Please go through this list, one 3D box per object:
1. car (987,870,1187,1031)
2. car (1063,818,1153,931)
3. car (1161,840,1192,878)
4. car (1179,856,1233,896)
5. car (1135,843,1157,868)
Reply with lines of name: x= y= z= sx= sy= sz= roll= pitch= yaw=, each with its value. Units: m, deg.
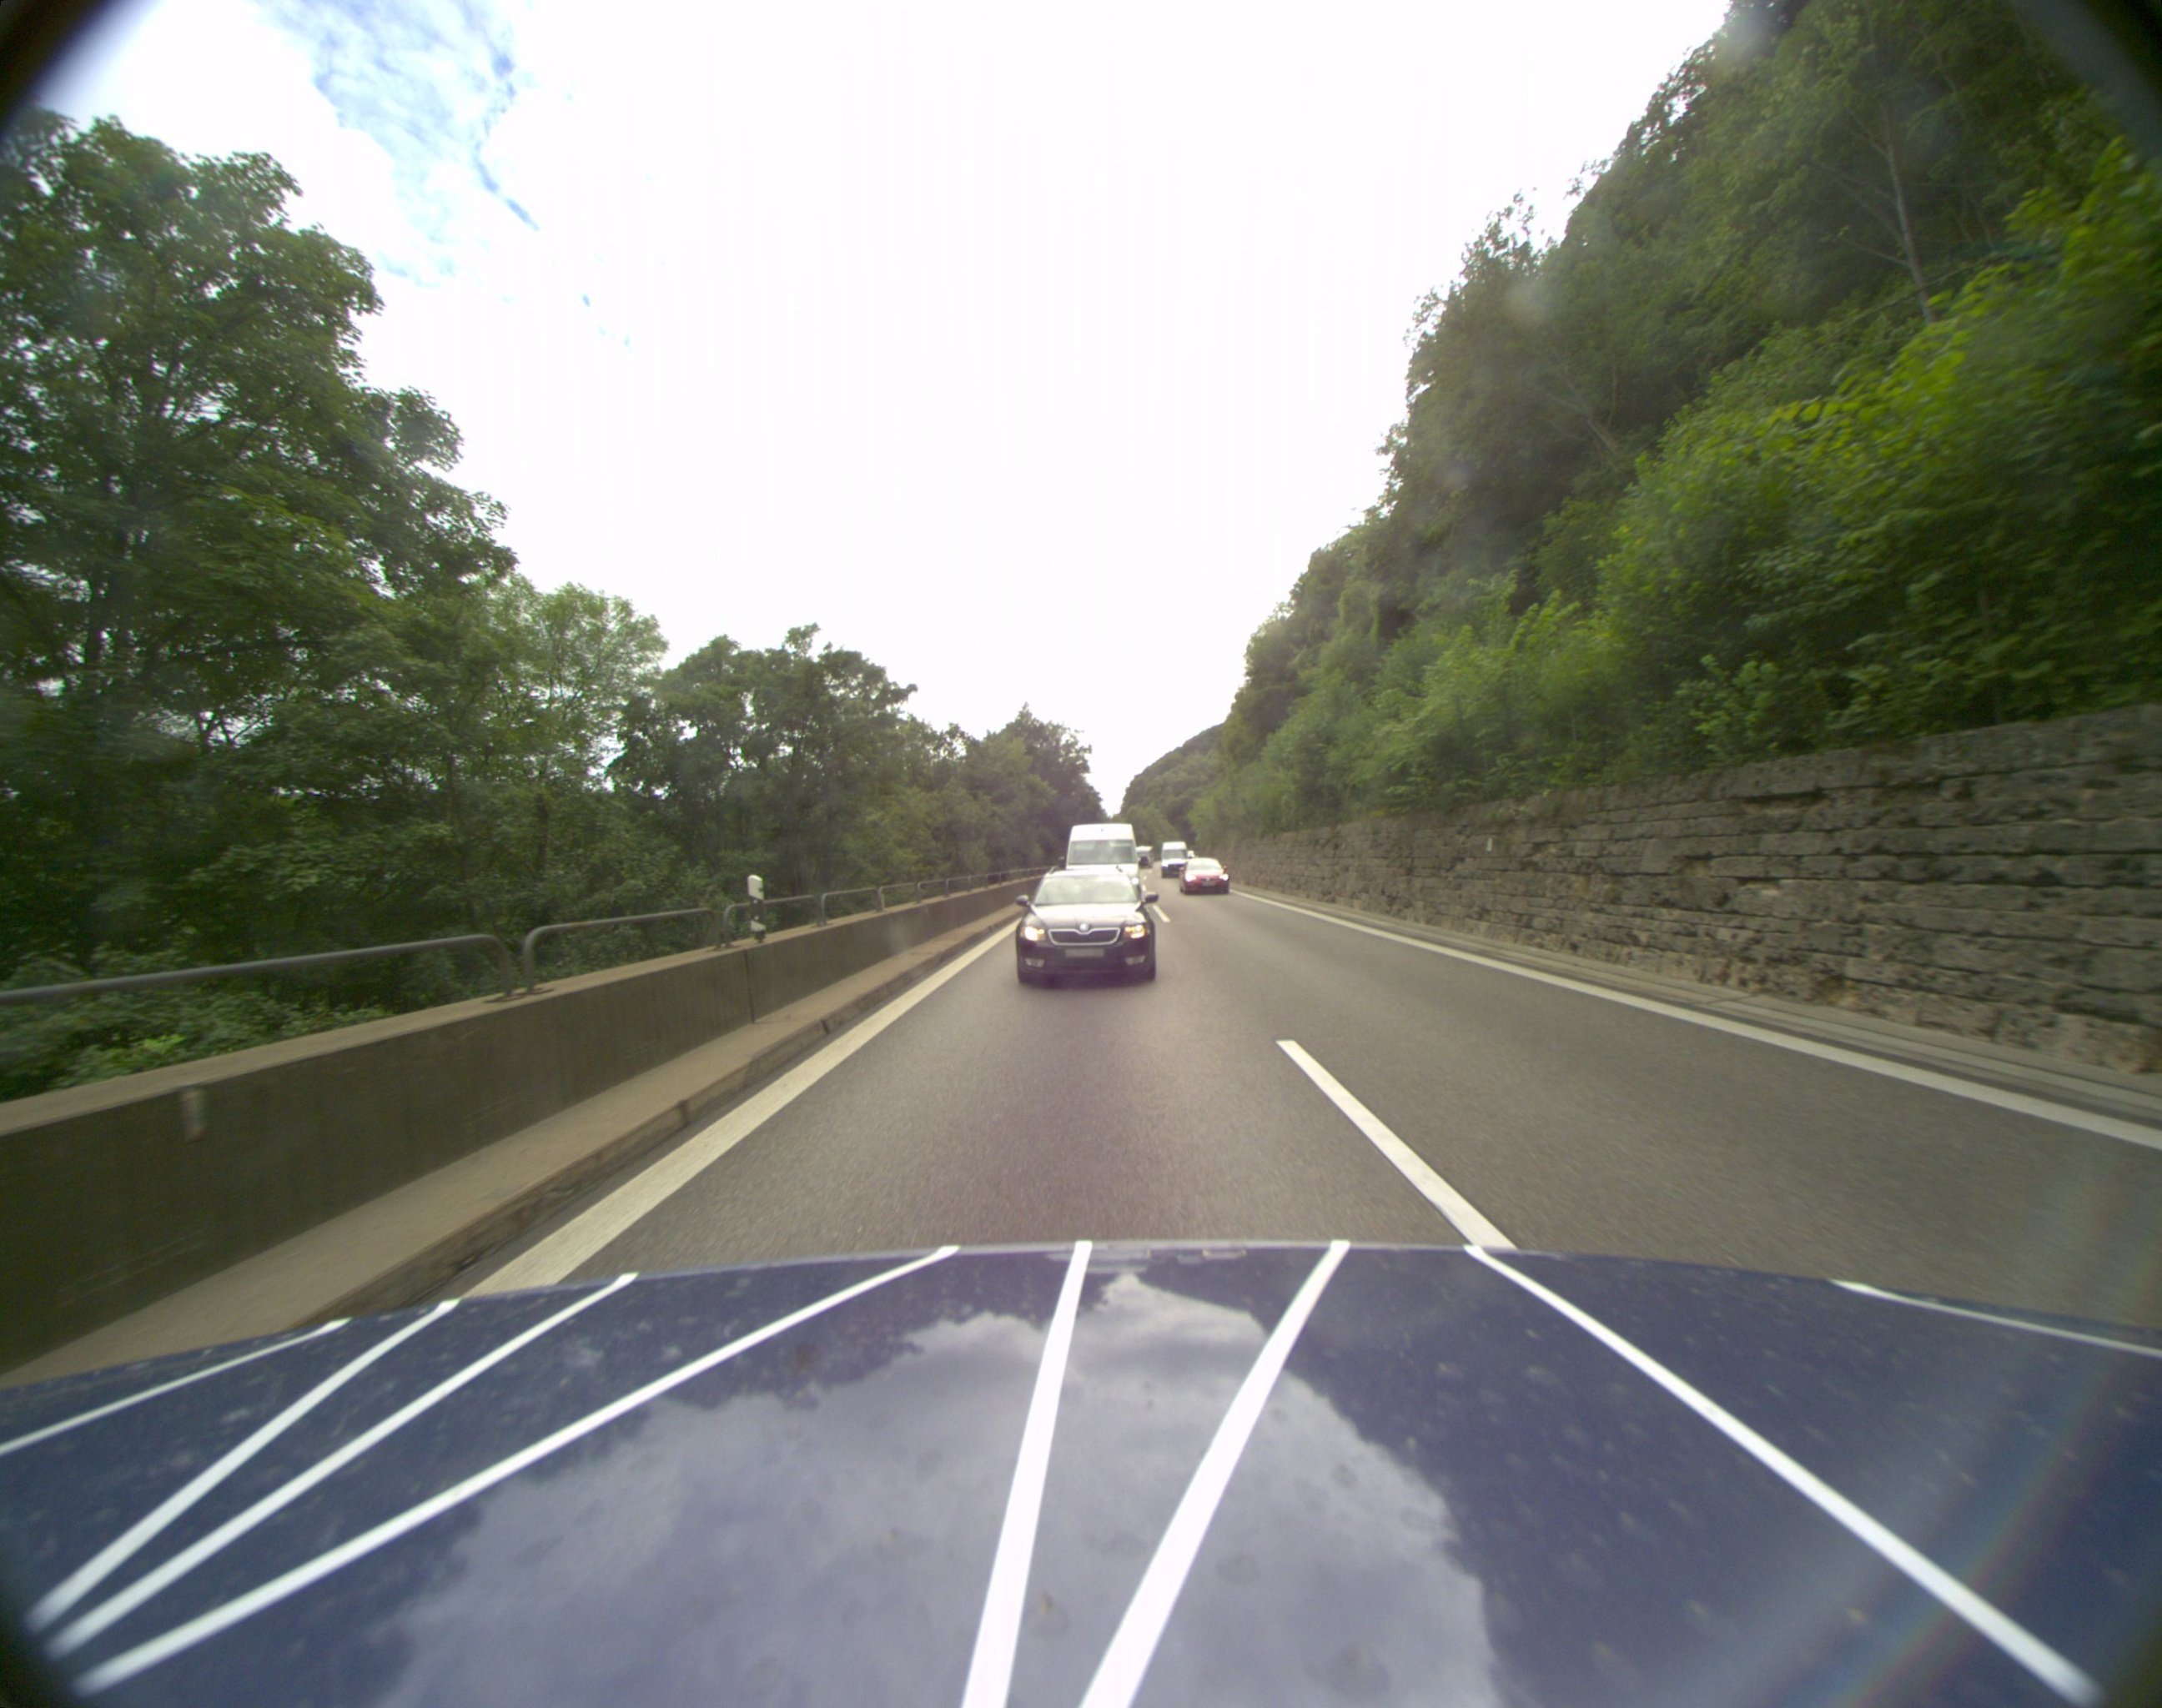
car: x=0.135 y=1.020 z=10.349 sx=1.913 sy=1.391 sz=5.697 roll=-3 pitch=0 yaw=2
car: x=0.716 y=0.478 z=20.509 sx=1.998 sy=2.549 sz=5.919 roll=-2 pitch=0 yaw=2
car: x=7.097 y=0.324 z=56.063 sx=2.030 sy=2.570 sz=6.278 roll=-2 pitch=0 yaw=8
car: x=5.072 y=0.836 z=31.293 sx=1.770 sy=1.451 sz=4.412 roll=-2 pitch=0 yaw=4
car: x=8.114 y=0.180 z=94.429 sx=2.275 sy=2.941 sz=7.190 roll=-2 pitch=0 yaw=8
